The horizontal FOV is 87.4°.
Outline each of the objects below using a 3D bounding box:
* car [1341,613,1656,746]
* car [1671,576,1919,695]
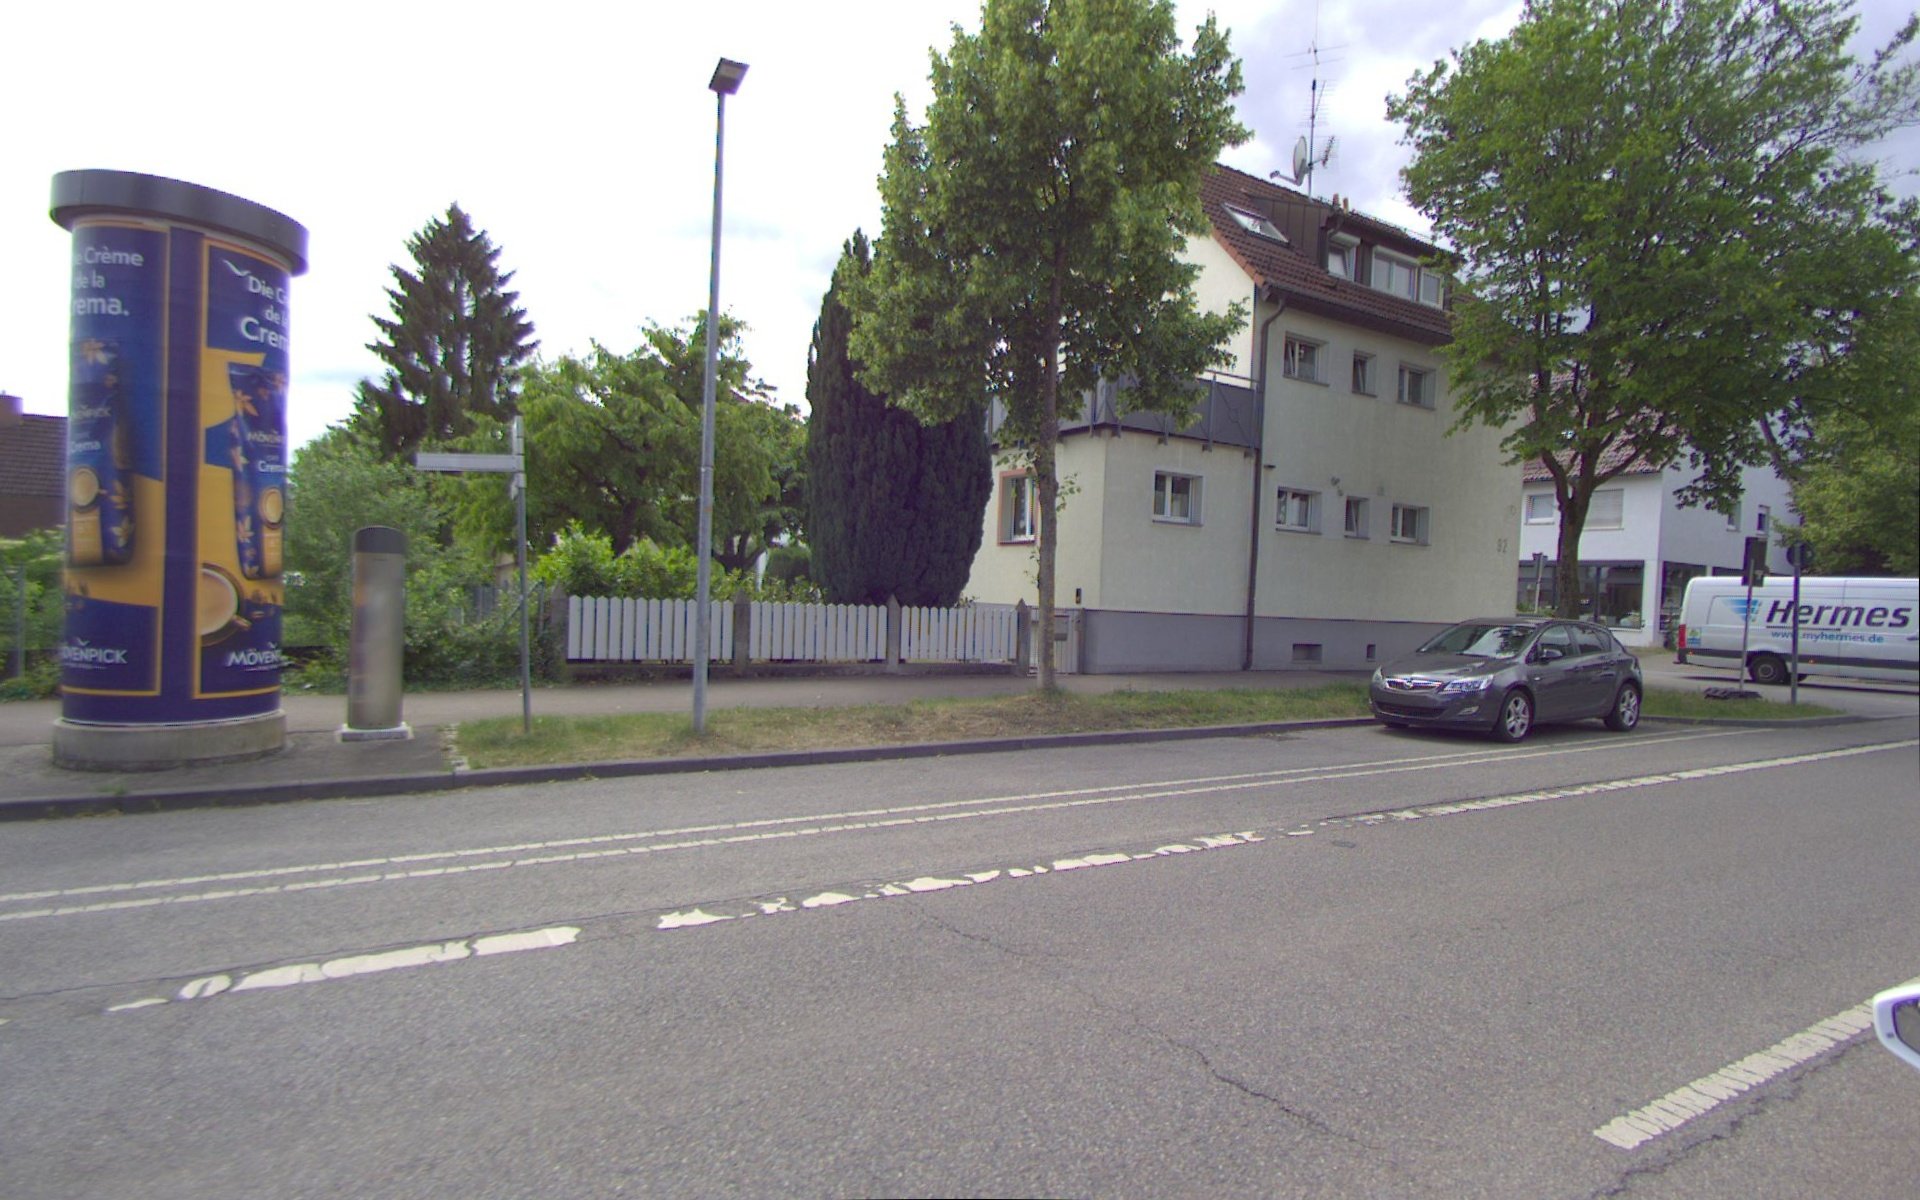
[{"bbox_3d":[7.156,0.962,13.244,4.251,1.488,1.722,2,0,-31],"label":"car"},{"bbox_3d":[21.534,0.794,23.847,2.198,2.629,7.242,1,0,-34],"label":"car"}]
